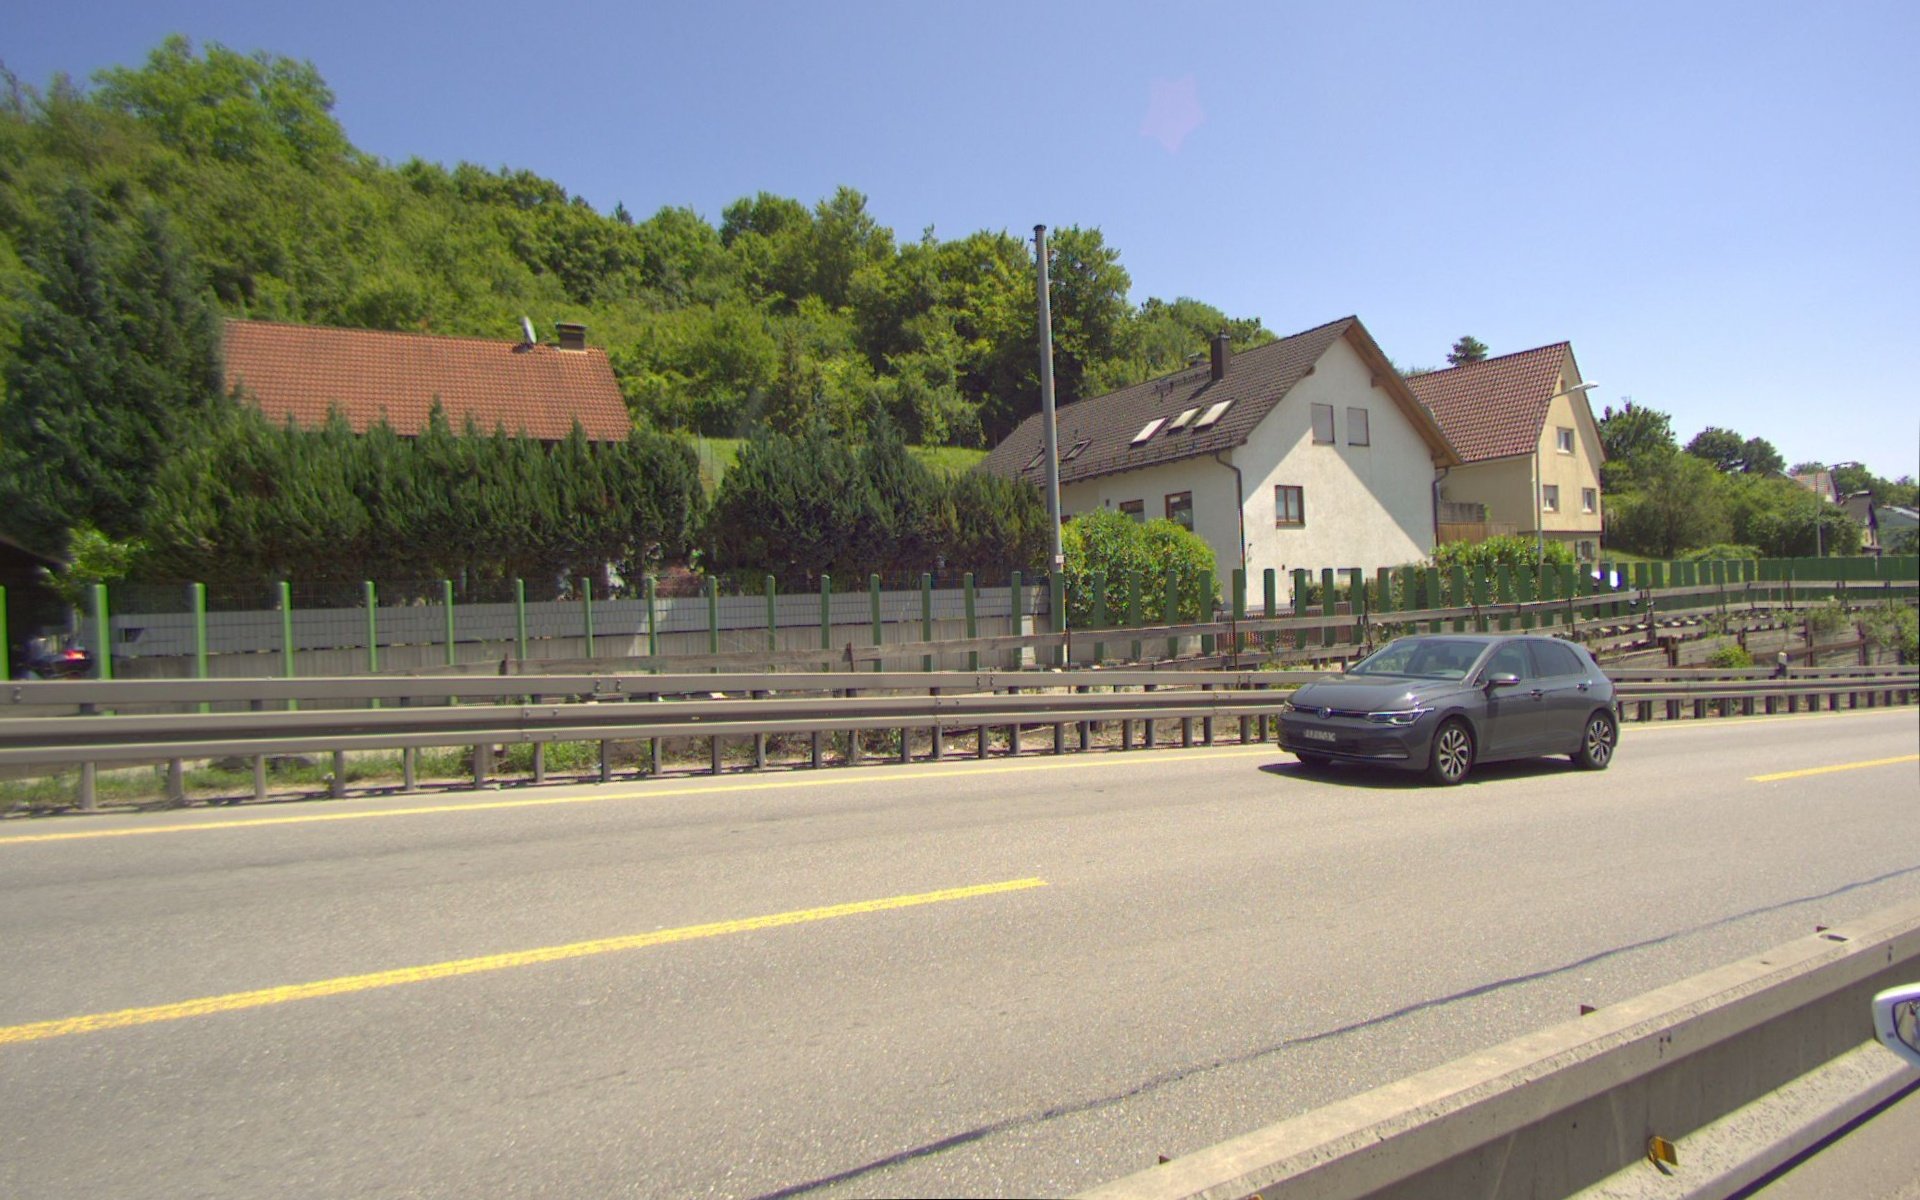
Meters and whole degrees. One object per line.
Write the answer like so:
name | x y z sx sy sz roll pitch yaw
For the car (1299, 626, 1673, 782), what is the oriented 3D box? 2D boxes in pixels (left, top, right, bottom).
car | 5.885 1.040 11.150 4.080 1.426 1.824 2 -2 -30
